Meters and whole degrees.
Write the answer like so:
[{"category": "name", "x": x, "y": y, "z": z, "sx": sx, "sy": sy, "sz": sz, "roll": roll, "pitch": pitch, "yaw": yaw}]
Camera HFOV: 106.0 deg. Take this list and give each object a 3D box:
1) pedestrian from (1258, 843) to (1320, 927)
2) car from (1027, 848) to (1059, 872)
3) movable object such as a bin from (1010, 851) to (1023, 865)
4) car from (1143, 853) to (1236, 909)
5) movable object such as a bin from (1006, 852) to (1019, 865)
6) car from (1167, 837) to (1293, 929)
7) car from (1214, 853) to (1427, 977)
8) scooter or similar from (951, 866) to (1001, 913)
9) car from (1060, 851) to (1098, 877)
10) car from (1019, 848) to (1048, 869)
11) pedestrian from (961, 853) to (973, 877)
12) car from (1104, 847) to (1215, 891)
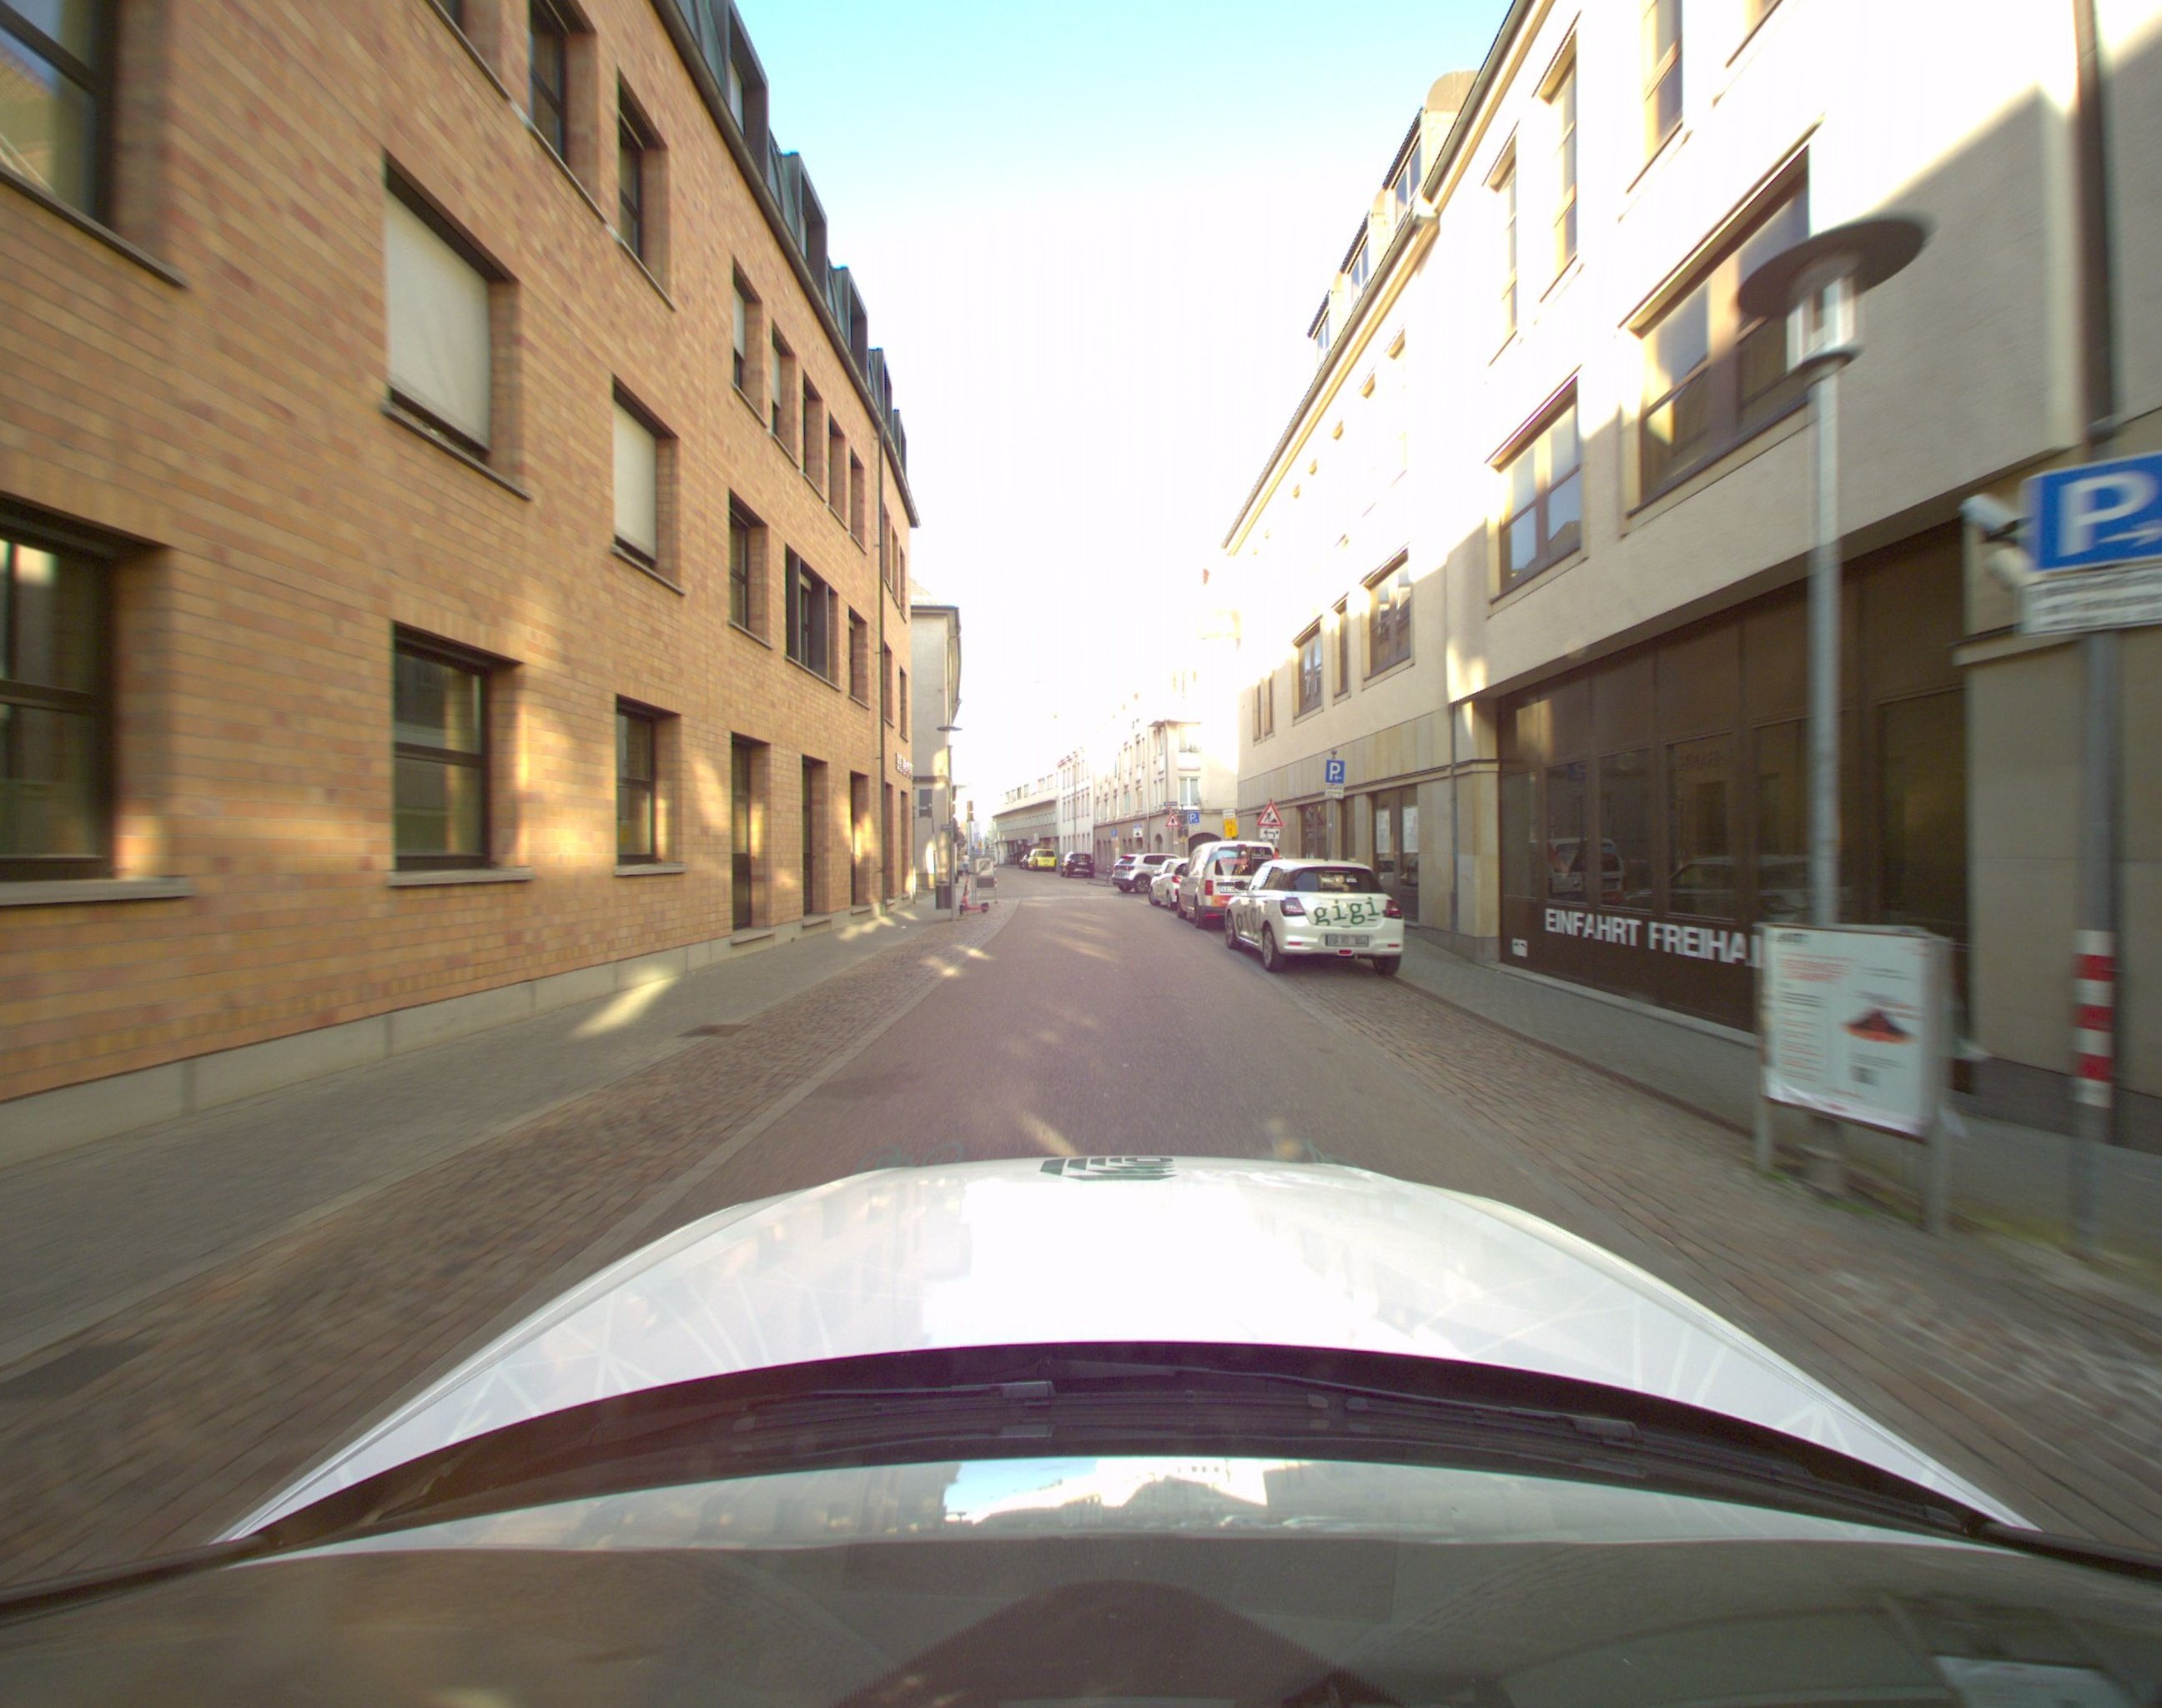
[{"category": "pedestrian", "x": 4.635, "y": 0.667, "z": 18.251, "sx": 1.039, "sy": 1.801, "sz": 1.198, "roll": -1, "pitch": -1, "yaw": -1}, {"category": "car", "x": -3.314, "y": 0.508, "z": 70.604, "sx": 2.055, "sy": 2.013, "sz": 4.156, "roll": -1, "pitch": 0, "yaw": -13}, {"category": "movable object such as a bin", "x": -7.484, "y": 0.491, "z": 94.700, "sx": 1.134, "sy": 1.558, "sz": 1.730, "roll": -1, "pitch": 0, "yaw": -17}, {"category": "car", "x": 3.154, "y": 0.724, "z": 24.397, "sx": 1.886, "sy": 1.518, "sz": 4.055, "roll": 0, "pitch": 0, "yaw": -6}, {"category": "movable object such as a bin", "x": -8.095, "y": 0.516, "z": 96.384, "sx": 1.134, "sy": 1.479, "sz": 1.730, "roll": -1, "pitch": 0, "yaw": -17}, {"category": "car", "x": 3.173, "y": 0.561, "z": 18.451, "sx": 1.825, "sy": 1.791, "sz": 5.211, "roll": 0, "pitch": 0, "yaw": -1}, {"category": "car", "x": 3.307, "y": 0.751, "z": 12.148, "sx": 1.835, "sy": 1.478, "sz": 4.165, "roll": 1, "pitch": 0, "yaw": -1}, {"category": "scooter or similar", "x": -2.890, "y": 0.979, "z": 22.538, "sx": 0.691, "sy": 1.217, "sz": 1.365, "roll": -1, "pitch": 0, "yaw": 26}, {"category": "car", "x": -0.201, "y": 0.629, "z": 54.236, "sx": 1.967, "sy": 1.692, "sz": 4.089, "roll": 1, "pitch": 0, "yaw": -9}, {"category": "car", "x": -4.497, "y": 0.393, "z": 76.352, "sx": 2.055, "sy": 1.873, "sz": 4.082, "roll": -1, "pitch": 0, "yaw": -13}, {"category": "pedestrian", "x": -8.258, "y": 0.787, "z": 58.767, "sx": 0.767, "sy": 1.724, "sz": 0.683, "roll": -1, "pitch": 0, "yaw": -15}, {"category": "car", "x": 3.112, "y": 0.563, "z": 32.434, "sx": 4.004, "sy": 1.562, "sz": 1.828, "roll": -2, "pitch": 0, "yaw": -23}]
